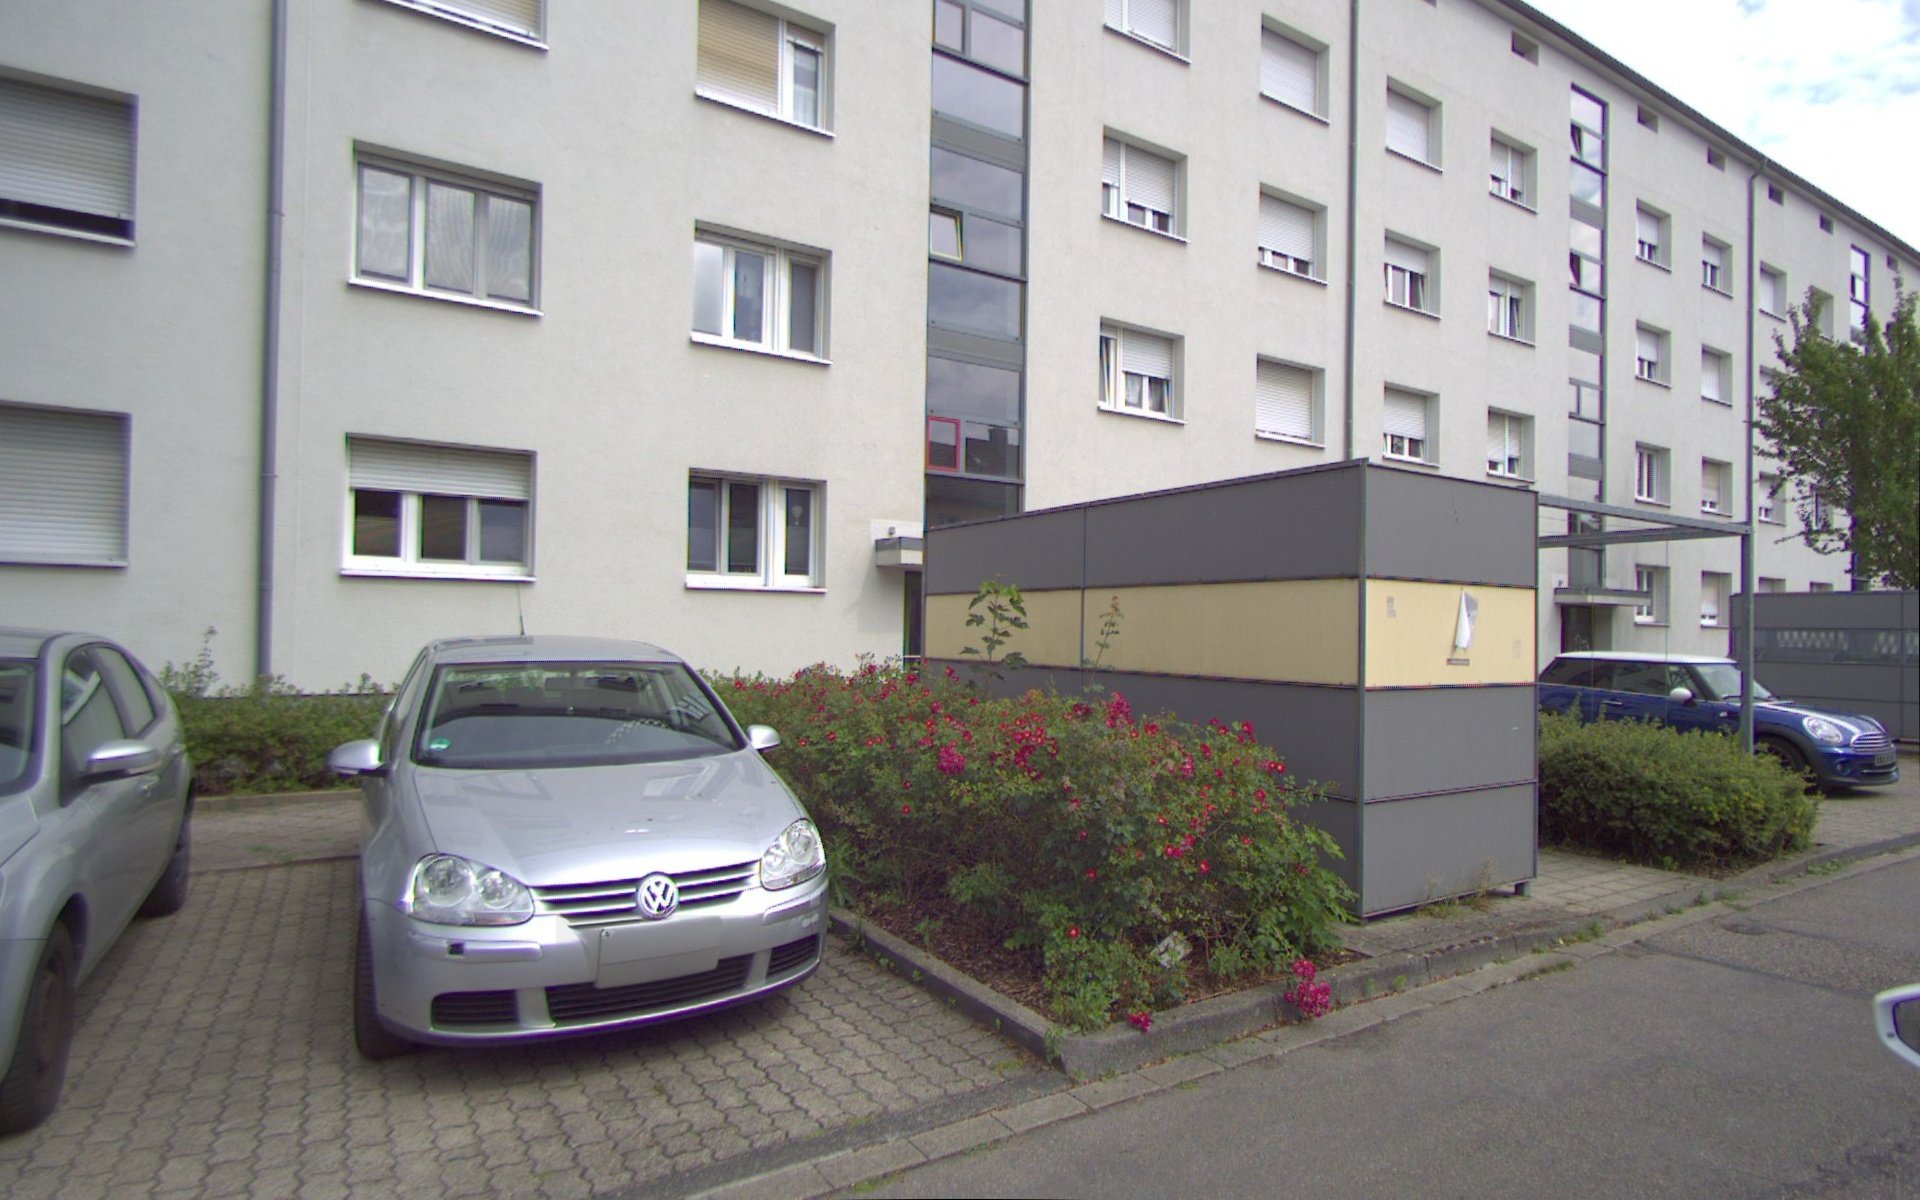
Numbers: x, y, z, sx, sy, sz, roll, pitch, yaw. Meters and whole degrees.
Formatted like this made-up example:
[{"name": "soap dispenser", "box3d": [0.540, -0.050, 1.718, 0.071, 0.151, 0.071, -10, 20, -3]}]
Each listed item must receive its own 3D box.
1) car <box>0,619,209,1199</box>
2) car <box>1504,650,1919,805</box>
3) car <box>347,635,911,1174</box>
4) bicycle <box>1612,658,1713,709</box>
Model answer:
[{"name": "car", "box3d": [-4.091, 0.846, 3.638, 1.762, 1.525, 4.031, 2, -3, -31]}, {"name": "car", "box3d": [8.588, 1.340, 11.767, 1.632, 1.480, 3.621, 2, -3, -28]}, {"name": "car", "box3d": [-1.976, 0.931, 4.985, 1.762, 1.483, 4.031, 2, -3, -31]}, {"name": "bicycle", "box3d": [15.522, 1.831, 22.228, 1.775, 1.038, 0.479, 0, -1, 18]}]
